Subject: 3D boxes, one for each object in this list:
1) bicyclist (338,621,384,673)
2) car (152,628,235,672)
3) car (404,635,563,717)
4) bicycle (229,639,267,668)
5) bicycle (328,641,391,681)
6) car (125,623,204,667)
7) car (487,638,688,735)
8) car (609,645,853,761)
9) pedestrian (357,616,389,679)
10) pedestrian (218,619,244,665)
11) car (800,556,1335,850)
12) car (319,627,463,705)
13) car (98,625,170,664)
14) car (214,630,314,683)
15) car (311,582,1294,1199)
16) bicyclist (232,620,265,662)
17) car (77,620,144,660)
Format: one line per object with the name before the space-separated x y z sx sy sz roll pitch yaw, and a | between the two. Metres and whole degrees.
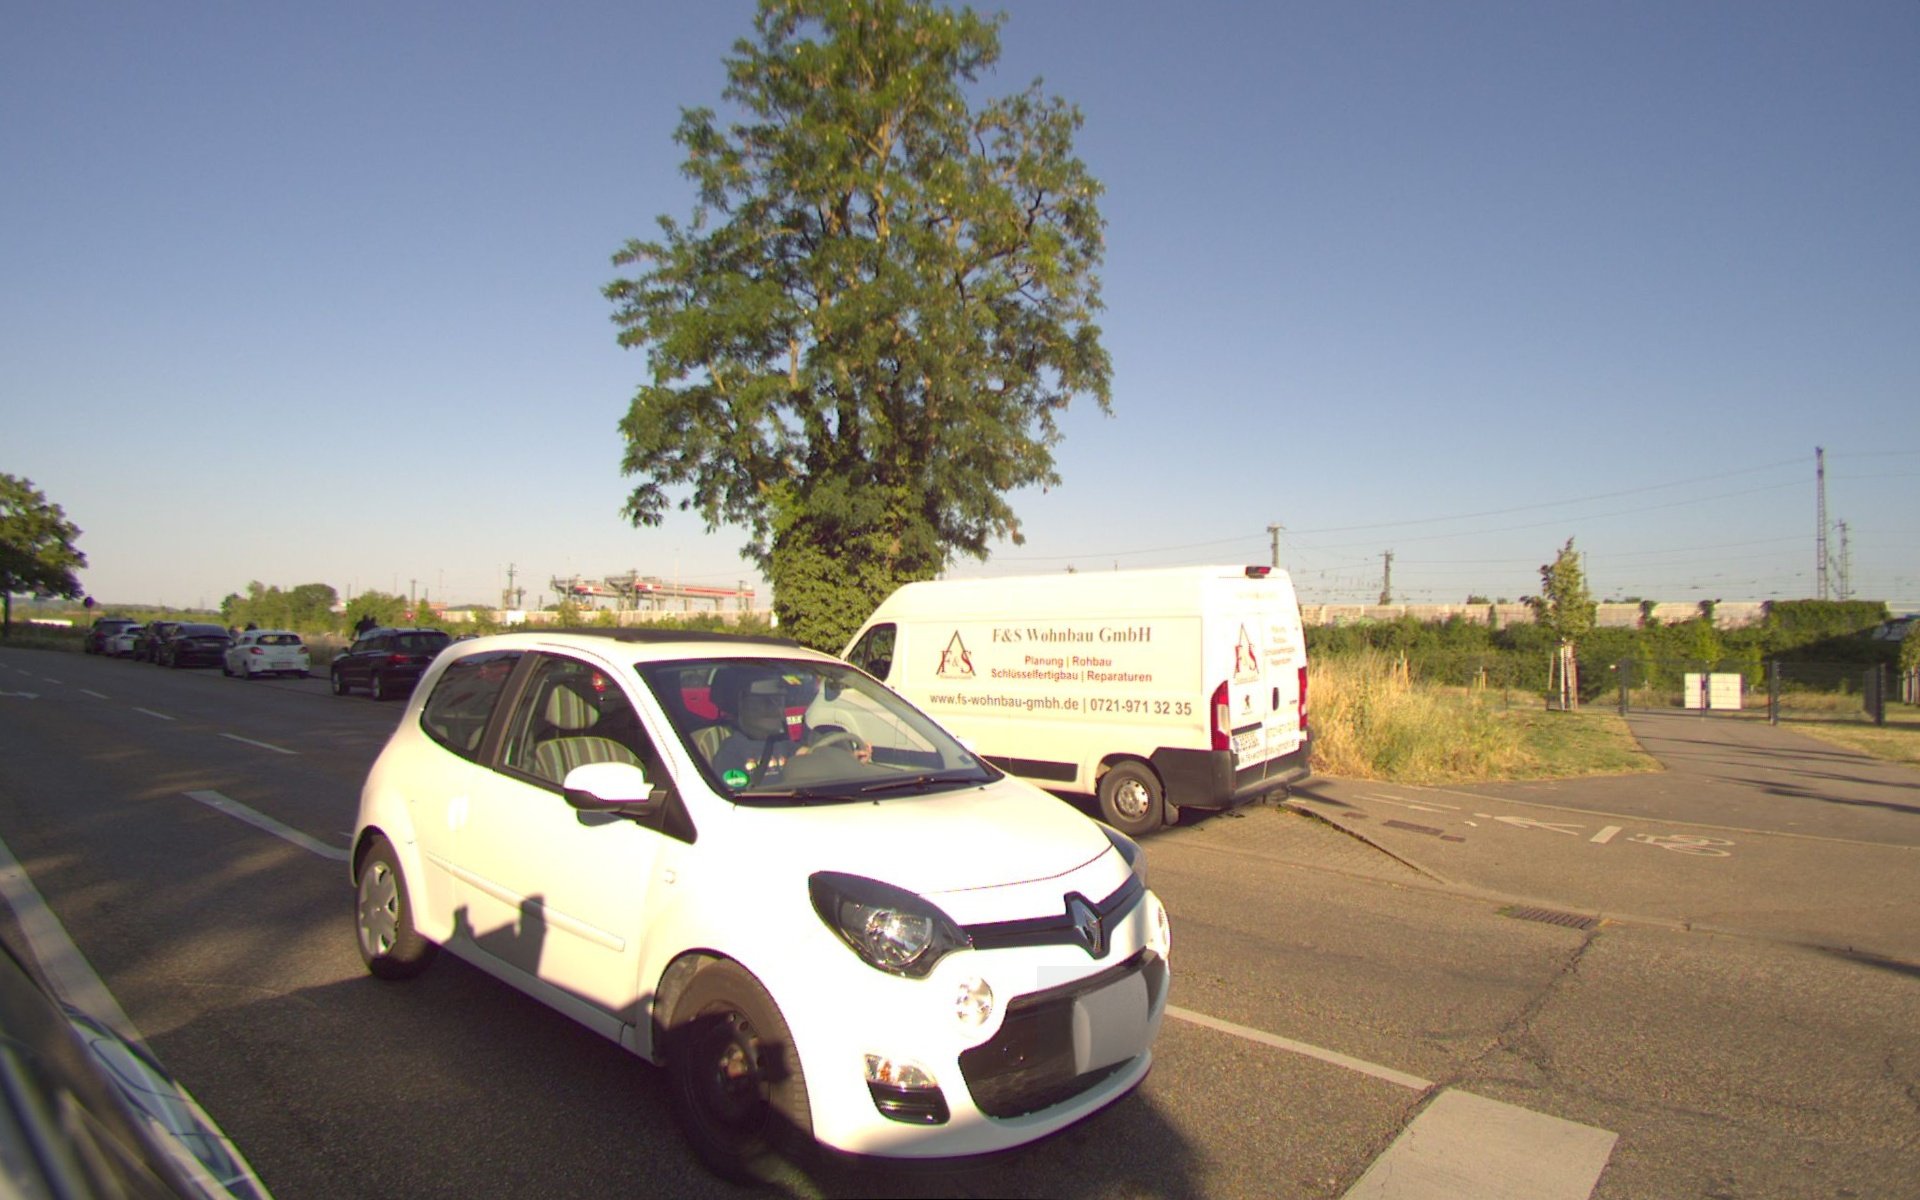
bicyclist | -18.834 1.470 31.802 1.145 1.609 0.855 -1 -4 40
car | -28.230 1.818 37.223 1.798 1.538 4.292 5 -4 -45
car | -10.012 1.549 21.191 3.577 1.541 1.642 -1 -4 40
bicycle | -27.898 2.096 39.647 2.163 1.098 0.738 -1 -4 43
bicycle | -18.876 1.900 31.803 2.481 1.198 0.927 -1 -4 41
car | -32.378 1.815 41.145 4.219 1.650 1.799 -1 -4 43
car | -6.796 1.498 18.311 3.814 1.541 1.723 -1 -4 40
car | -3.546 1.477 15.389 3.692 1.498 1.723 -1 -4 40
pedestrian | -19.449 1.572 33.515 0.729 2.029 0.608 -1 -4 39
pedestrian | -32.789 1.871 45.512 0.710 2.029 0.697 -1 -4 42
car | 0.930 0.897 11.075 5.556 2.455 2.207 -1 -1 40
car | -13.594 1.528 24.109 4.003 1.672 1.642 -1 -4 40
car | -36.465 1.955 44.656 4.219 1.586 1.799 -1 -4 43
car | -21.555 1.734 31.287 3.582 1.538 1.684 -1 -4 42
car | -0.868 0.775 3.935 3.772 1.480 1.683 -1 -4 40
bicyclist | -27.937 1.590 39.714 1.146 1.609 0.758 -1 -4 43
car | -40.835 1.898 48.604 4.219 1.789 1.866 -1 -4 43
